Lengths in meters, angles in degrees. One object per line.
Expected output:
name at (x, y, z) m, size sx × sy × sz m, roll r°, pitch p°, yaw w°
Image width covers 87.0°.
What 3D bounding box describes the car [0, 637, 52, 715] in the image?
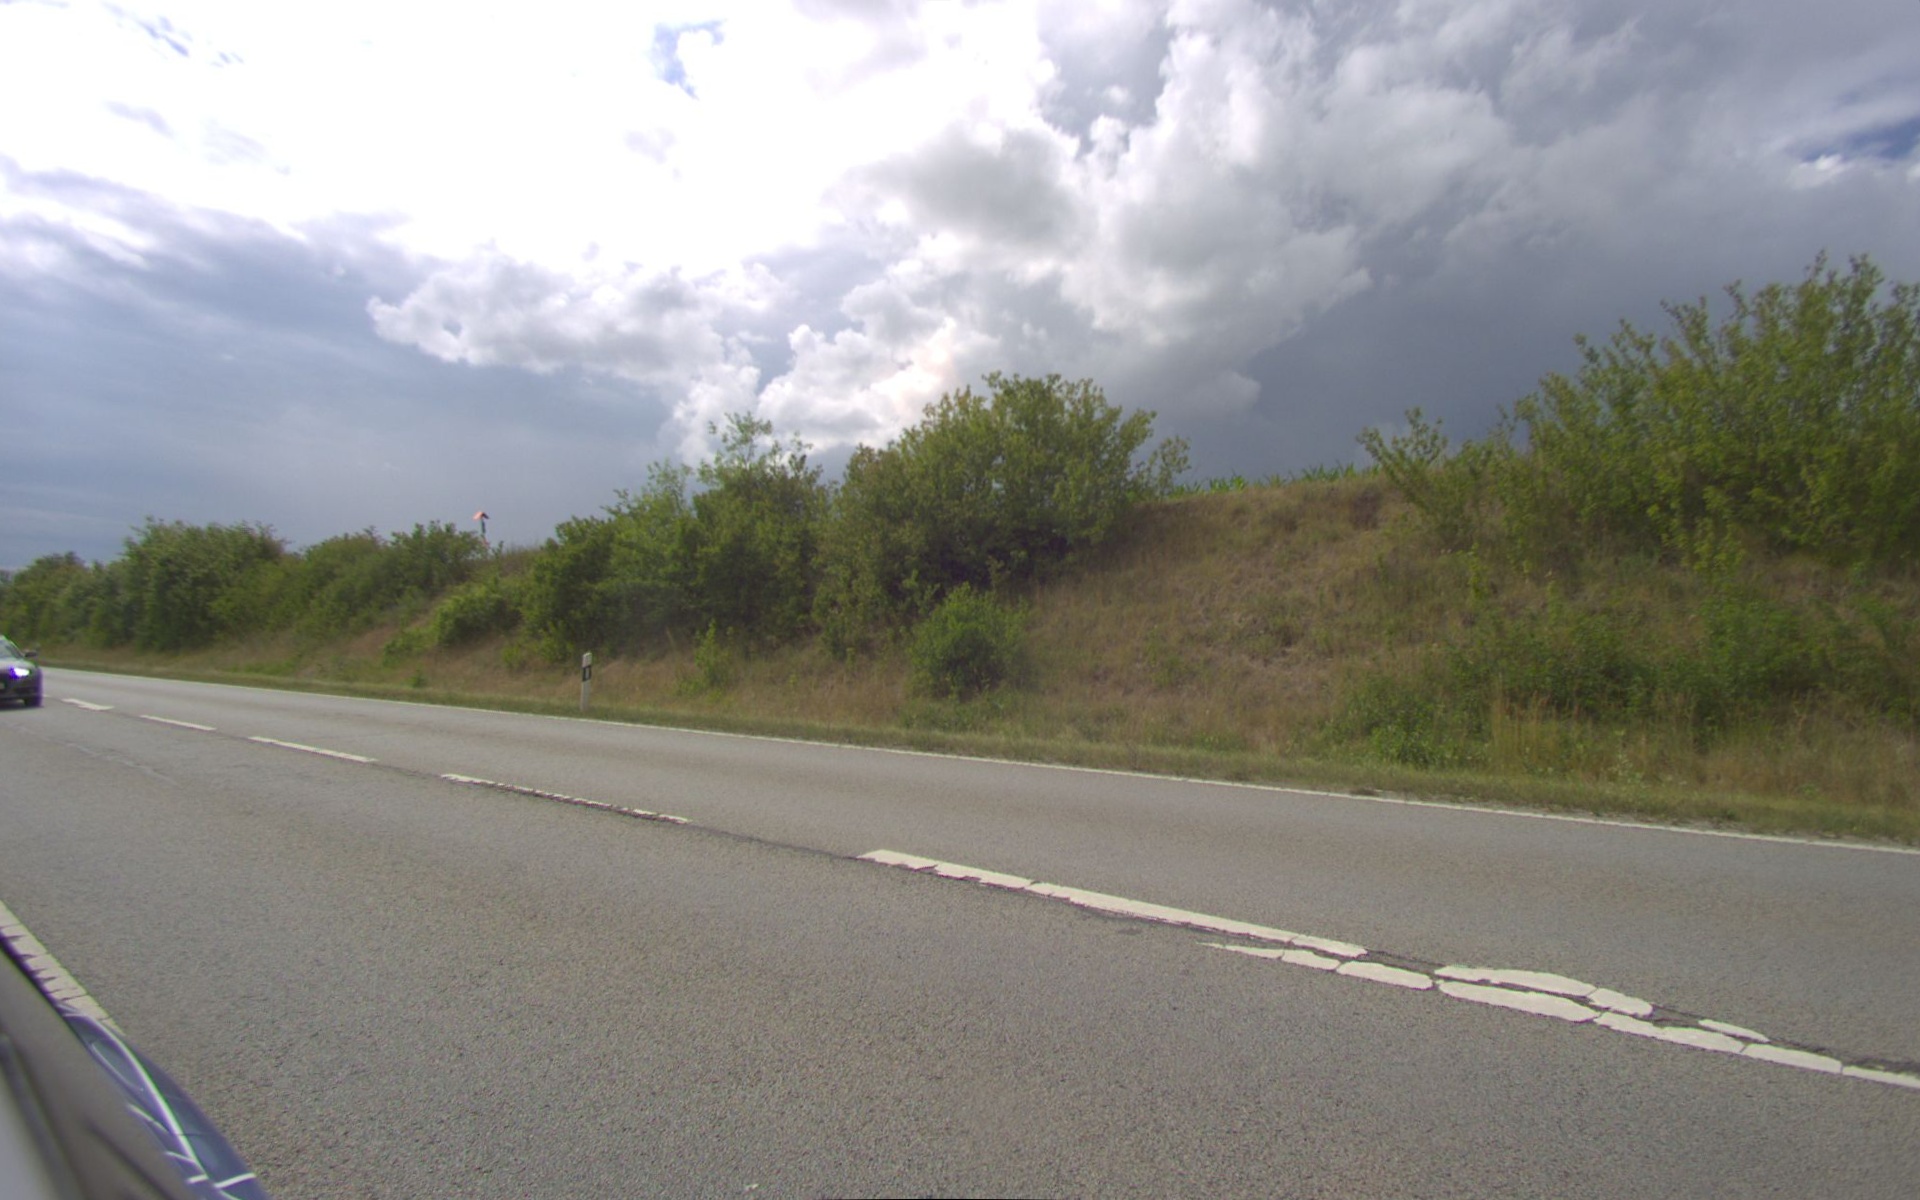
car at (-20.195, 1.525, 20.537) m, size 4.636 × 1.455 × 1.974 m, roll -2°, pitch -1°, yaw 40°
